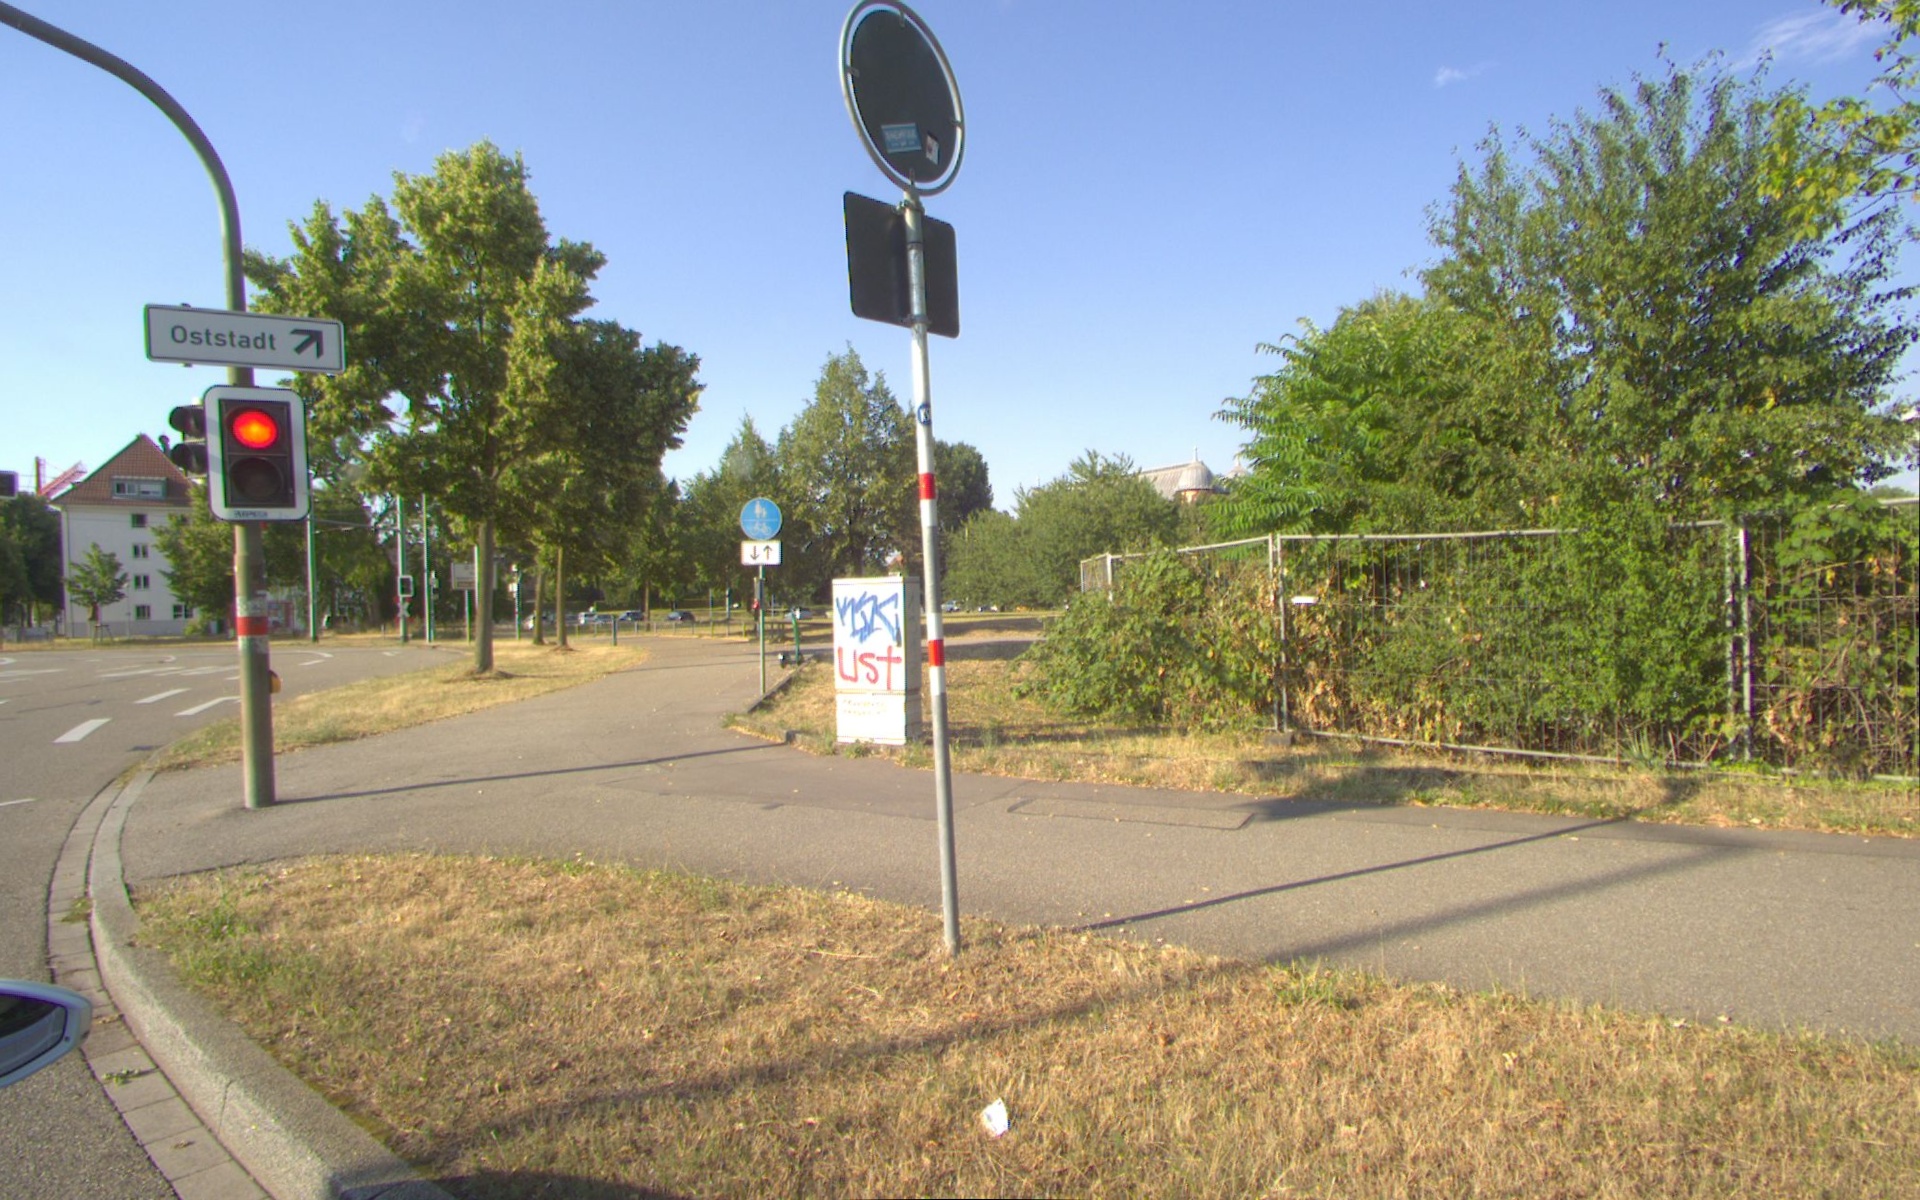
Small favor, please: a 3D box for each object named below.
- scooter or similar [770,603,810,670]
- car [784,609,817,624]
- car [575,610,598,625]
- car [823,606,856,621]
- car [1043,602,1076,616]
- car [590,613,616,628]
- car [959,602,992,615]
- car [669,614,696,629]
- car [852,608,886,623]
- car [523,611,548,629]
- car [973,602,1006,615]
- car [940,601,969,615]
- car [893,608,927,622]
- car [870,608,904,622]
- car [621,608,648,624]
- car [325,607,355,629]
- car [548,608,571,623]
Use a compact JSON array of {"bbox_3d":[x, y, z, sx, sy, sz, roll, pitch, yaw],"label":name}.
[{"bbox_3d":[-3.249,0.683,19.212,0.336,1.175,1.169,-4,2,8],"label":"scooter or similar"},{"bbox_3d":[-15.947,1.621,99.953,1.803,1.421,3.976,-1,-1,-33],"label":"car"},{"bbox_3d":[-37.193,1.731,99.630,1.583,1.420,3.950,-1,0,-29],"label":"car"},{"bbox_3d":[-12.391,1.412,103.094,1.803,1.421,3.976,-1,-1,-33],"label":"car"},{"bbox_3d":[11.707,1.010,118.480,1.803,1.590,3.974,-1,1,-33],"label":"car"},{"bbox_3d":[-31.829,1.820,89.153,1.583,1.237,3.950,-1,-1,-29],"label":"car"},{"bbox_3d":[1.679,0.945,111.495,1.803,1.421,3.976,-1,-1,-33],"label":"car"},{"bbox_3d":[-25.747,1.980,92.869,1.583,1.327,3.950,-1,-1,-29],"label":"car"},{"bbox_3d":[-9.461,1.616,104.132,1.802,1.421,3.976,-3,1,-33],"label":"car"},{"bbox_3d":[-36.696,1.734,86.556,1.583,1.420,3.950,-1,0,-29],"label":"car"},{"bbox_3d":[3.322,0.941,112.966,1.803,1.421,3.976,-1,-1,-33],"label":"car"},{"bbox_3d":[-0.700,1.003,123.512,1.803,1.694,3.976,-1,0,-33],"label":"car"},{"bbox_3d":[-5.345,1.564,107.072,1.803,1.421,3.976,-1,-1,-33],"label":"car"},{"bbox_3d":[-7.693,1.603,105.451,1.803,1.421,3.976,-1,-1,-33],"label":"car"},{"bbox_3d":[-29.440,1.436,90.624,1.583,1.420,3.950,-1,0,-29],"label":"car"},{"bbox_3d":[-48.251,1.380,77.984,1.751,1.639,3.950,-1,0,-29],"label":"car"},{"bbox_3d":[-39.246,1.505,98.010,1.583,1.420,3.950,-1,0,-29],"label":"car"}]
